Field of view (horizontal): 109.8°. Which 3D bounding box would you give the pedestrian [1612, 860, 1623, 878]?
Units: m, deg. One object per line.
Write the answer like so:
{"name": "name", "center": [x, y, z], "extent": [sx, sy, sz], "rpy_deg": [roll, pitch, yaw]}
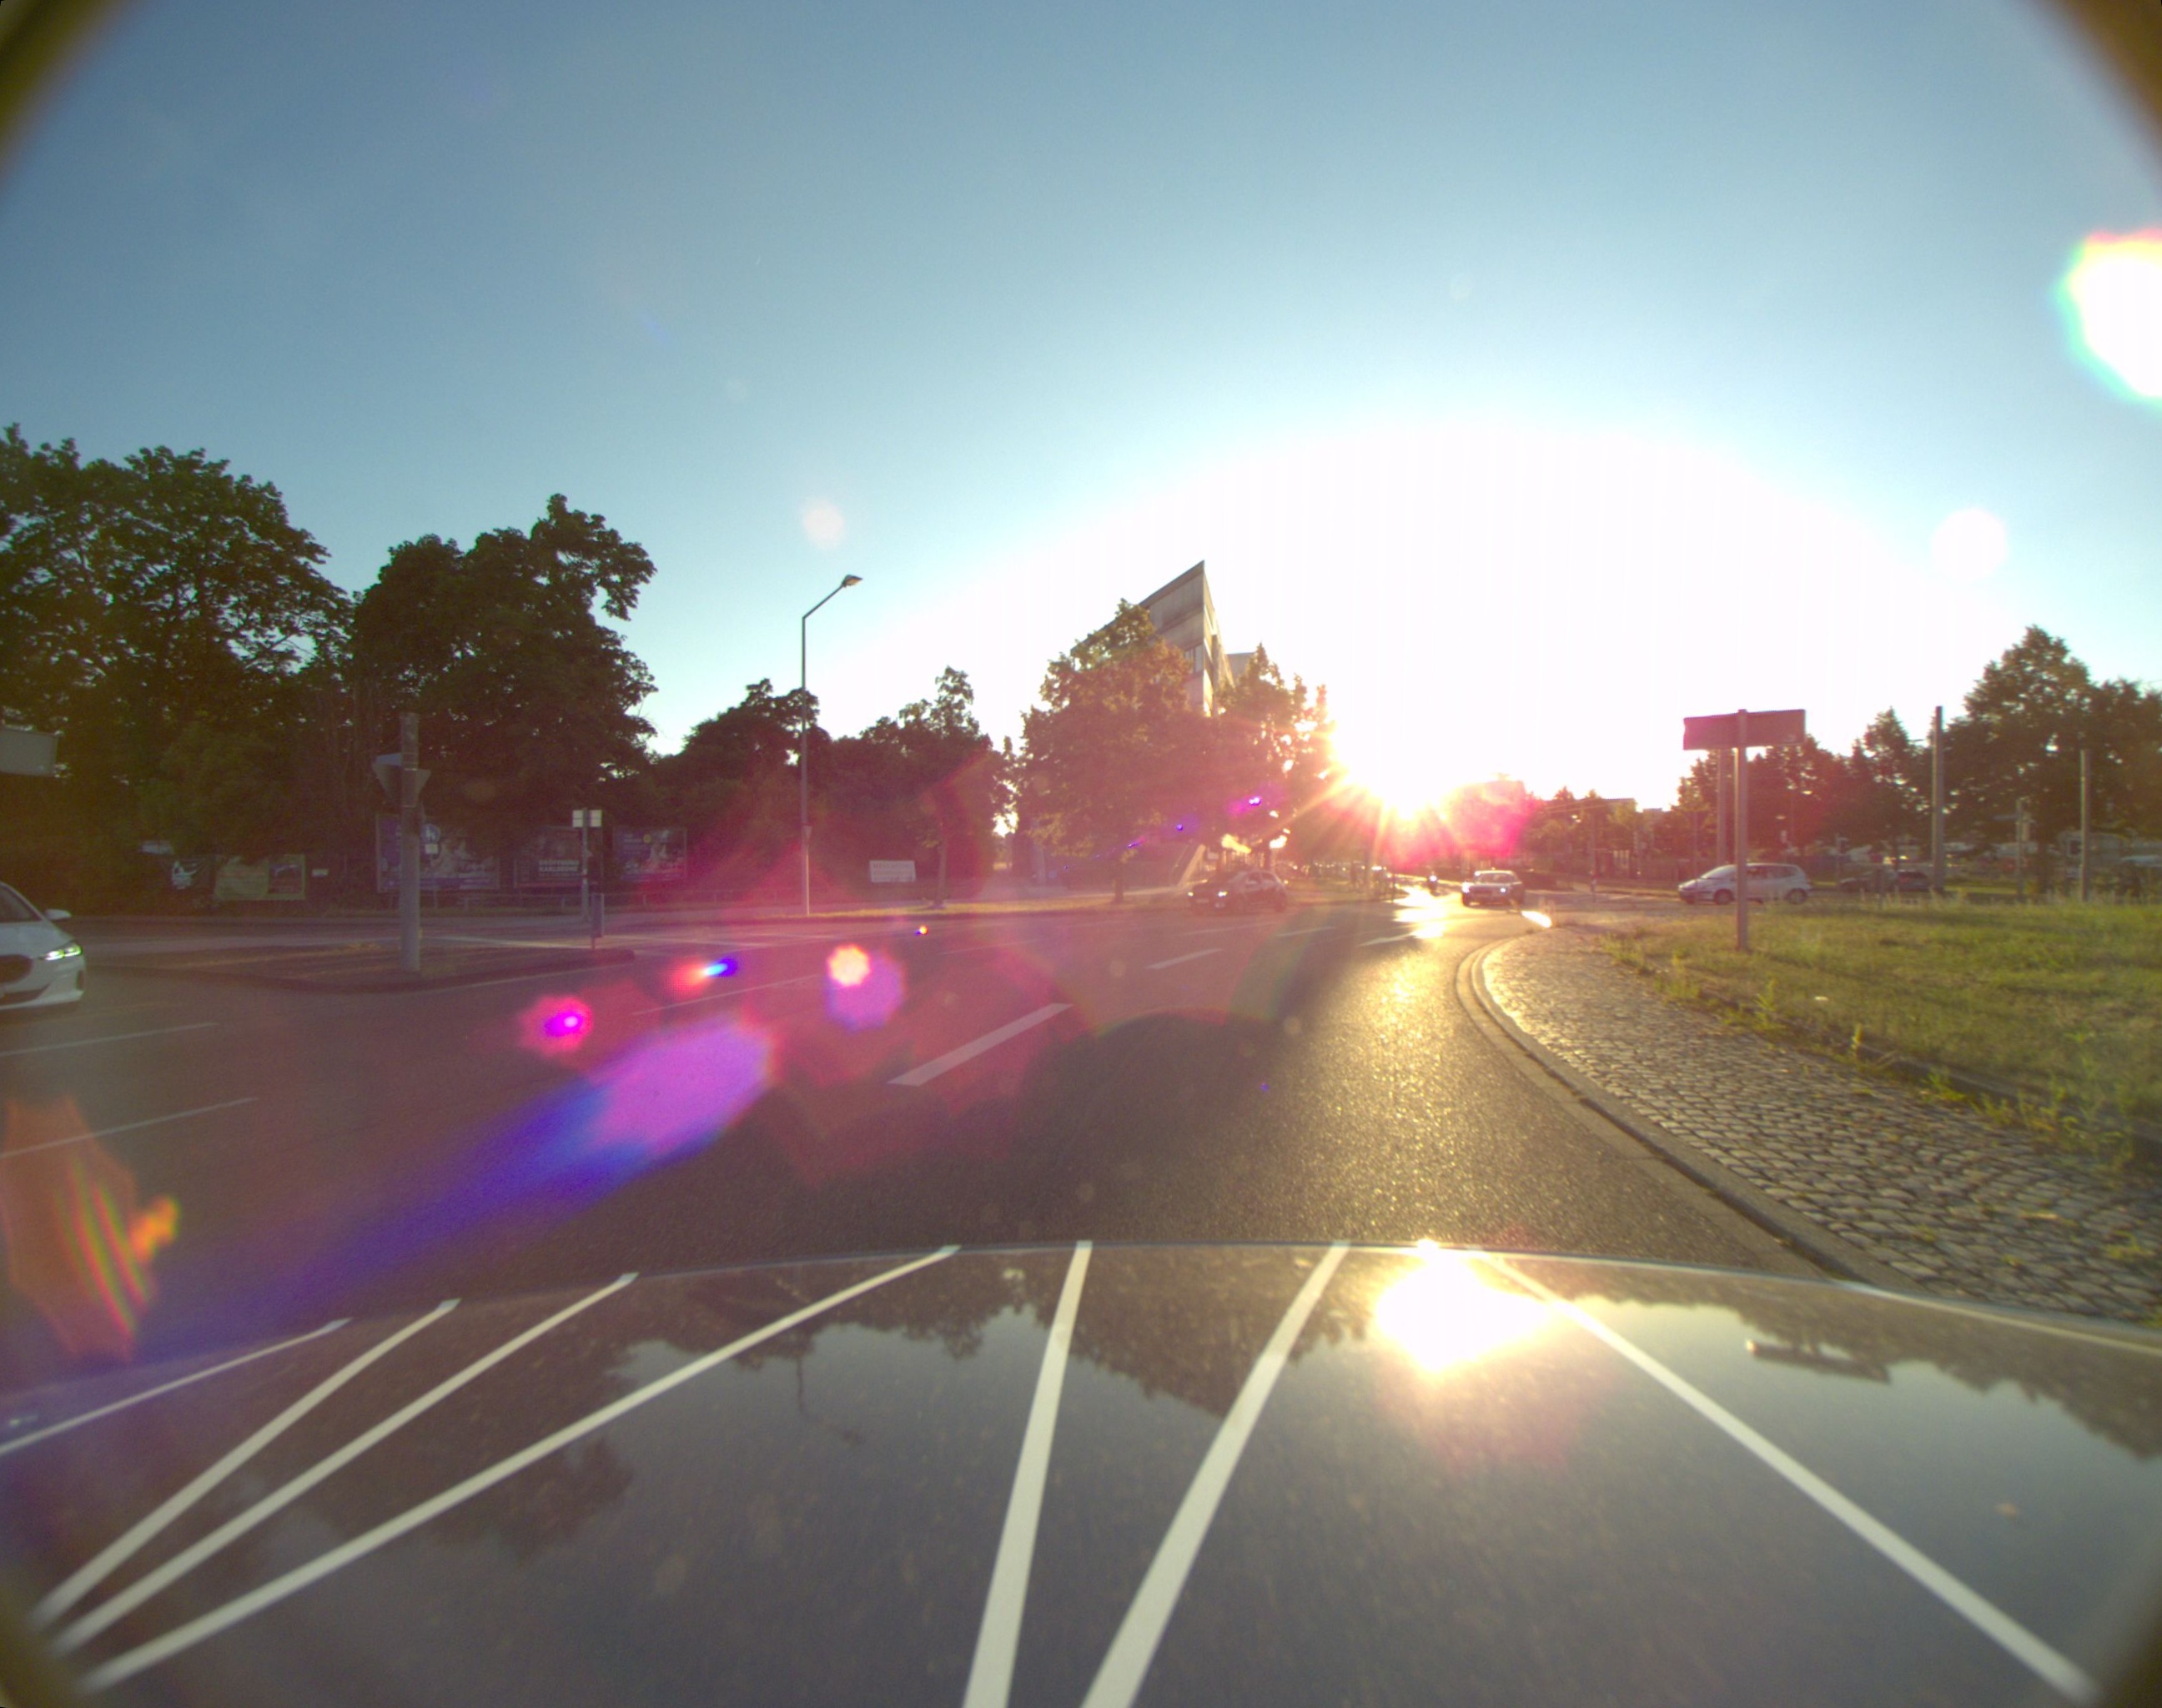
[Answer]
{"name": "pedestrian", "center": [49.629, 1.385, 70.281], "extent": [0.707, 1.623, 0.447], "rpy_deg": [0, 0, 12]}

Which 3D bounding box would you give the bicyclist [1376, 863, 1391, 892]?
{"name": "bicyclist", "center": [18.412, 1.414, 46.214], "extent": [0.847, 1.745, 0.805], "rpy_deg": [0, 0, 21]}

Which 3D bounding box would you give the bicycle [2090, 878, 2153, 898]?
{"name": "bicycle", "center": [51.104, 1.657, 37.329], "extent": [1.840, 0.975, 0.538], "rpy_deg": [0, 0, 18]}

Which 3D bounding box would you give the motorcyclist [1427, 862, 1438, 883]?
{"name": "motorcyclist", "center": [24.508, 1.279, 52.965], "extent": [0.635, 1.408, 0.716], "rpy_deg": [0, 0, 19]}

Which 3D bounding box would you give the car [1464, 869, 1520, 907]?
{"name": "car", "center": [17.258, 1.372, 31.786], "extent": [1.798, 1.414, 4.458], "rpy_deg": [-1, -1, 32]}

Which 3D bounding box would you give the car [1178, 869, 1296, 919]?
{"name": "car", "center": [5.151, 1.252, 24.858], "extent": [4.009, 1.455, 1.798], "rpy_deg": [0, -1, -44]}

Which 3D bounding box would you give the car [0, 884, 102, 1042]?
{"name": "car", "center": [-12.944, 1.154, 8.339], "extent": [4.085, 1.549, 1.894], "rpy_deg": [-1, 0, 26]}

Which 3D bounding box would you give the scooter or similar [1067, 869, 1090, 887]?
{"name": "scooter or similar", "center": [-0.194, 1.675, 53.156], "extent": [1.573, 1.213, 0.367], "rpy_deg": [0, 0, 24]}

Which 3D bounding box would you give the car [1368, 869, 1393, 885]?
{"name": "car", "center": [30.702, 2.368, 78.032], "extent": [1.889, 1.472, 4.056], "rpy_deg": [0, 0, 15]}

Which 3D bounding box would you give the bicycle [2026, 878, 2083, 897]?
{"name": "bicycle", "center": [51.258, 1.760, 40.021], "extent": [1.840, 0.975, 0.551], "rpy_deg": [0, 0, 18]}

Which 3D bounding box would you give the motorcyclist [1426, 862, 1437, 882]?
{"name": "motorcyclist", "center": [24.737, 1.262, 53.584], "extent": [0.635, 1.400, 0.595], "rpy_deg": [0, 0, 20]}

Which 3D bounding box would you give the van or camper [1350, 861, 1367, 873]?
{"name": "van or camper", "center": [45.586, 2.080, 124.739], "extent": [1.996, 1.946, 5.334], "rpy_deg": [0, 0, 13]}

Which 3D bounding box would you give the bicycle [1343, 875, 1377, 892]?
{"name": "bicycle", "center": [16.505, 1.736, 44.927], "extent": [1.861, 1.016, 0.308], "rpy_deg": [0, 0, 4]}

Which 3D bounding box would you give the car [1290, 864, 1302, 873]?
{"name": "car", "center": [36.168, 2.391, 127.994], "extent": [1.800, 1.455, 4.005], "rpy_deg": [0, -1, 14]}

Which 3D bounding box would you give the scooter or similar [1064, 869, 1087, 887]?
{"name": "scooter or similar", "center": [-0.402, 1.637, 52.671], "extent": [1.573, 1.213, 0.367], "rpy_deg": [0, 0, 24]}

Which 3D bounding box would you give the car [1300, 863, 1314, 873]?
{"name": "car", "center": [33.105, 2.083, 111.518], "extent": [1.800, 1.455, 4.005], "rpy_deg": [0, -1, 14]}

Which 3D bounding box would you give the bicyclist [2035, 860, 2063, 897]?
{"name": "bicyclist", "center": [51.053, 1.284, 40.096], "extent": [0.676, 1.907, 0.616], "rpy_deg": [0, 0, 17]}

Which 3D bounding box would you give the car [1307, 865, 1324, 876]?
{"name": "car", "center": [29.632, 2.062, 96.074], "extent": [1.800, 1.455, 4.005], "rpy_deg": [0, -1, 14]}

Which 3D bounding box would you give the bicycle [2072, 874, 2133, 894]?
{"name": "bicycle", "center": [51.238, 1.497, 38.132], "extent": [1.840, 0.975, 0.551], "rpy_deg": [0, 0, 18]}

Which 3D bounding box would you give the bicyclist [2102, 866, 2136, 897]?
{"name": "bicyclist", "center": [51.017, 1.354, 37.349], "extent": [0.813, 1.497, 0.593], "rpy_deg": [0, 0, 17]}

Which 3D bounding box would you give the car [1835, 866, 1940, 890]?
{"name": "car", "center": [48.633, 1.409, 45.966], "extent": [1.928, 1.406, 4.656], "rpy_deg": [0, -1, 9]}

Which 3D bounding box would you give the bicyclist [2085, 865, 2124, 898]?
{"name": "bicyclist", "center": [51.339, 1.378, 38.119], "extent": [0.813, 1.630, 0.816], "rpy_deg": [0, 0, 17]}

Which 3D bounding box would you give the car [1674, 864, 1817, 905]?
{"name": "car", "center": [24.280, 1.103, 27.865], "extent": [3.706, 1.456, 1.607], "rpy_deg": [0, -1, 4]}

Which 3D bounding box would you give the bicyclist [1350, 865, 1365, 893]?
{"name": "bicyclist", "center": [16.364, 1.477, 44.962], "extent": [0.683, 1.638, 0.684], "rpy_deg": [0, 0, 5]}

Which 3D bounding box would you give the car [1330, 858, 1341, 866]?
{"name": "car", "center": [55.052, 1.753, 164.400], "extent": [1.891, 1.613, 4.004], "rpy_deg": [0, 0, 11]}

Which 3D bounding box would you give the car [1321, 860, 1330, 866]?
{"name": "car", "center": [58.098, 2.170, 180.334], "extent": [1.800, 1.455, 4.005], "rpy_deg": [0, -1, 14]}

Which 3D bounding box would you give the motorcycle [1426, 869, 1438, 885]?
{"name": "motorcycle", "center": [24.600, 1.586, 53.211], "extent": [0.557, 1.094, 2.163], "rpy_deg": [0, 0, 20]}

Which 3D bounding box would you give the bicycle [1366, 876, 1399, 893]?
{"name": "bicycle", "center": [18.448, 1.880, 46.553], "extent": [1.859, 1.016, 0.438], "rpy_deg": [0, 0, 21]}

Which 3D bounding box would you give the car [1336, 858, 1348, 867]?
{"name": "car", "center": [50.521, 1.653, 147.165], "extent": [1.717, 1.827, 4.003], "rpy_deg": [0, 0, 11]}

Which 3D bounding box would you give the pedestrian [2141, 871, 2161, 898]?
{"name": "pedestrian", "center": [53.972, 1.530, 38.118], "extent": [0.618, 1.358, 0.696], "rpy_deg": [0, 0, 17]}
